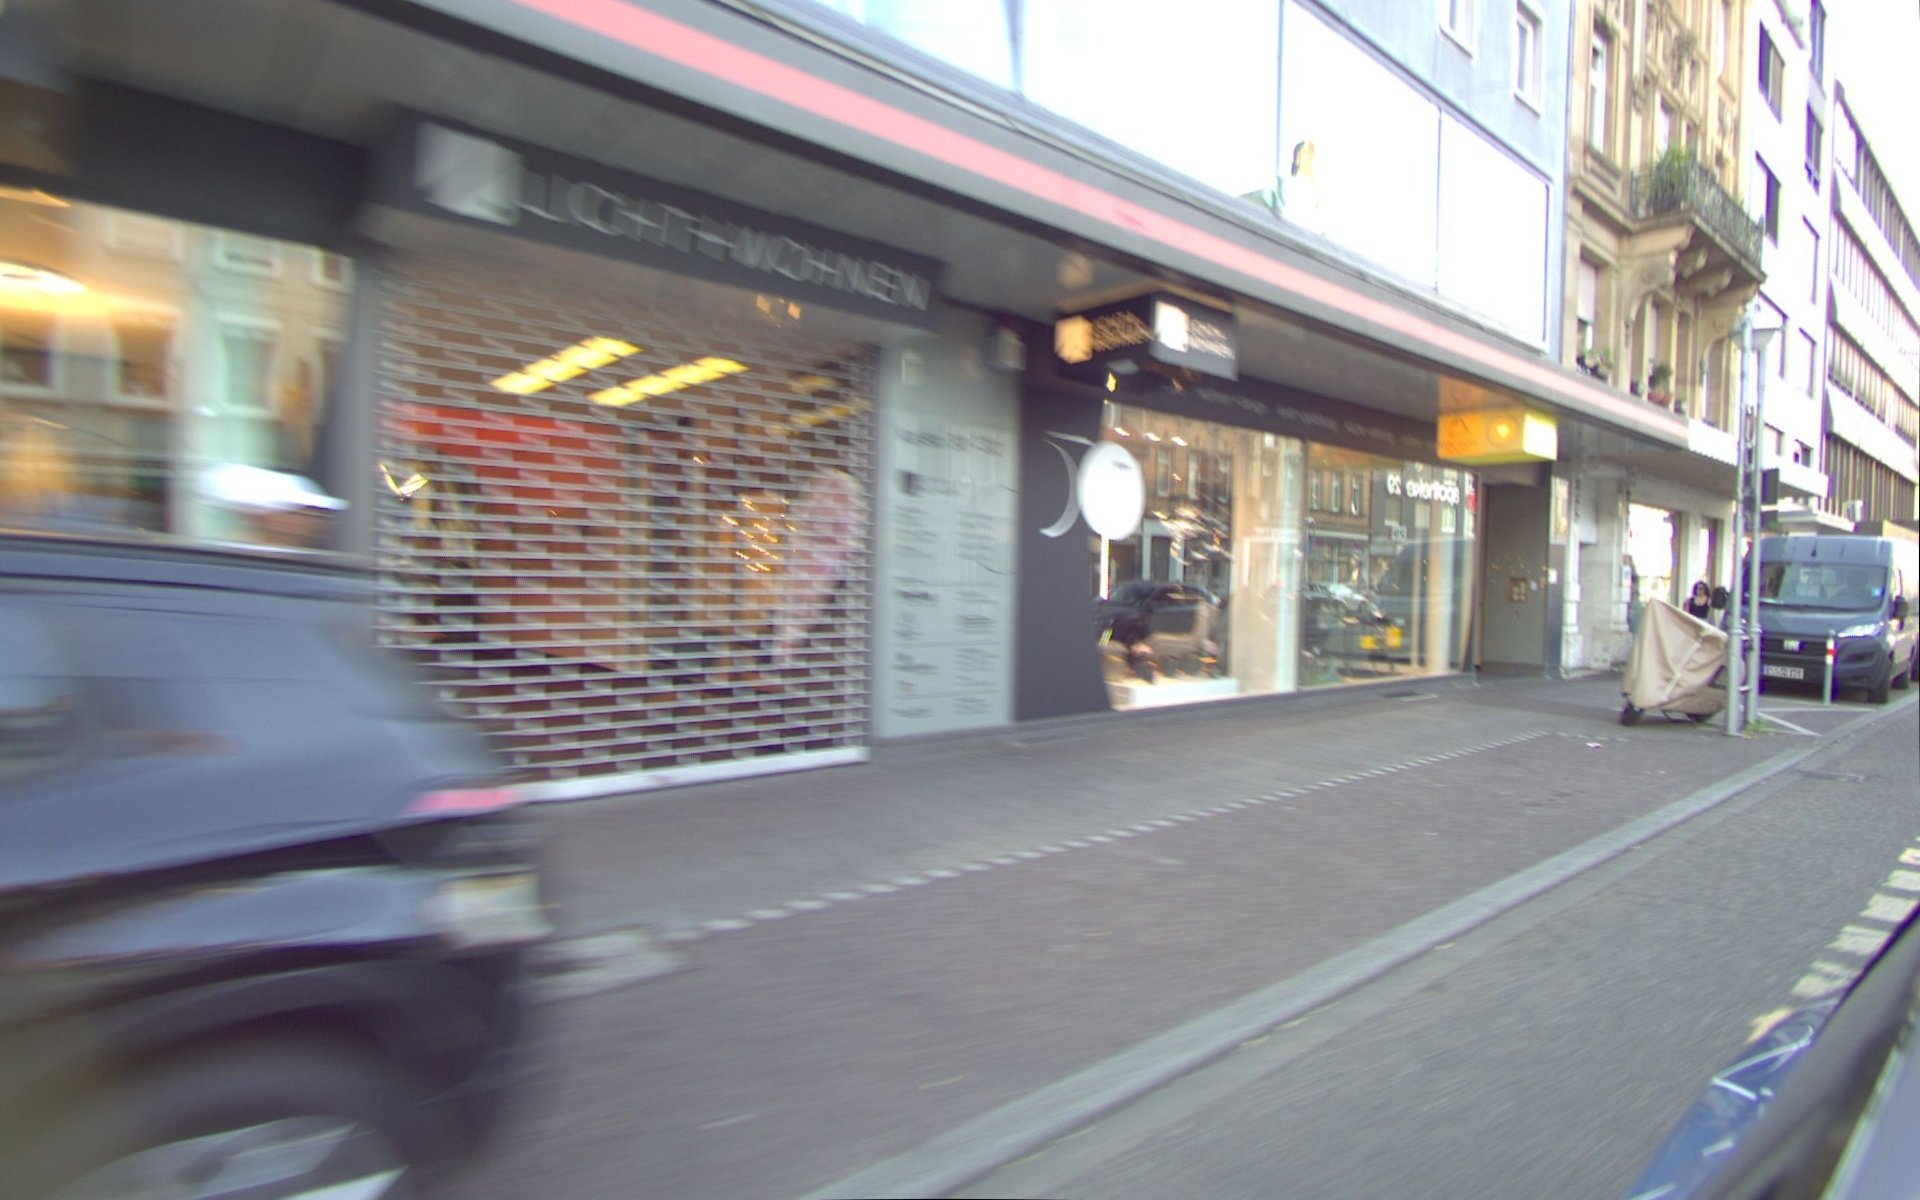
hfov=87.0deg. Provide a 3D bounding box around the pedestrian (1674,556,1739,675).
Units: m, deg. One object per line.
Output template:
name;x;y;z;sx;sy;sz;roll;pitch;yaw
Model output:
pedestrian;13.269;0.256;17.996;0.810;2.038;0.711;0;2;-41

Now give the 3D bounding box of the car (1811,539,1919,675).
car;18.823;0.092;20.211;5.468;2.434;1.997;0;2;-42

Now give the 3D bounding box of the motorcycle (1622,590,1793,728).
motorcycle;7.935;0.612;10.758;1.478;1.394;0.576;1;1;-11

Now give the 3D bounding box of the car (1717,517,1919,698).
car;14.012;0.053;16.121;5.489;2.414;2.044;0;2;-42

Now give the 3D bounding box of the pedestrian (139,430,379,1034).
pedestrian;-2.355;0.379;3.390;0.594;1.775;0.610;0;2;-41

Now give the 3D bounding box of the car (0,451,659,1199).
car;-2.640;0.566;1.338;3.964;1.594;1.673;0;2;-41
